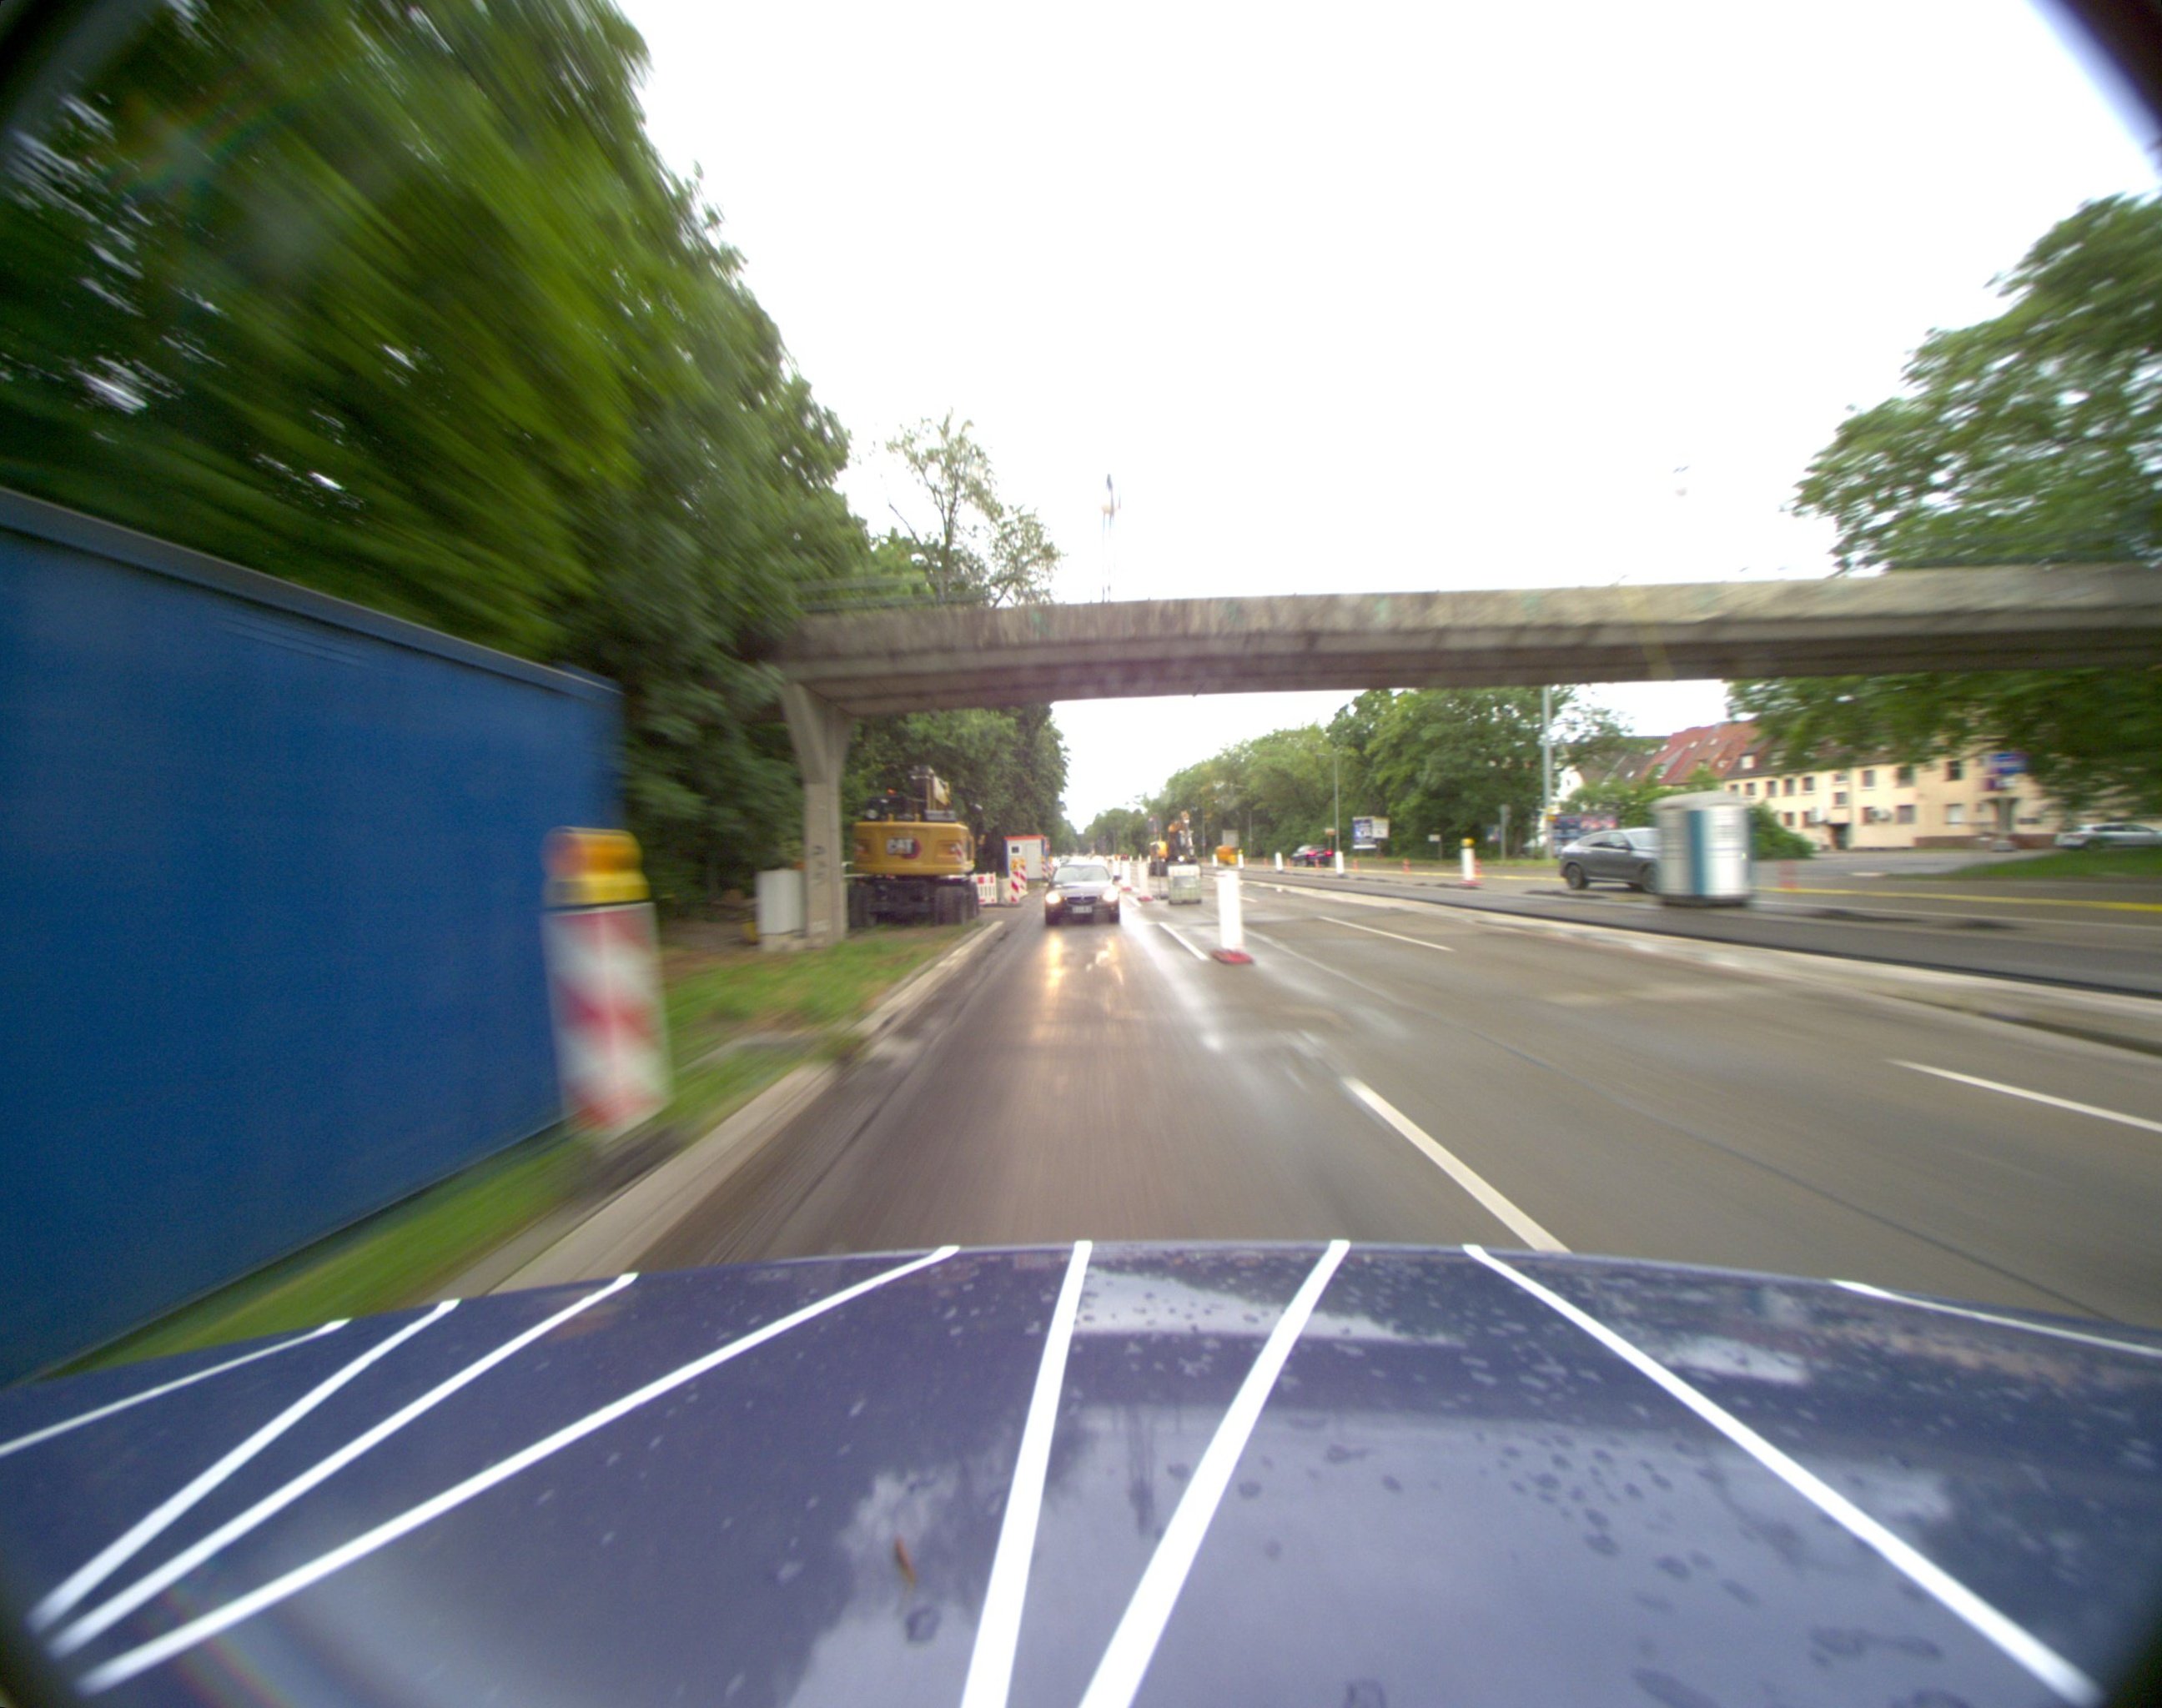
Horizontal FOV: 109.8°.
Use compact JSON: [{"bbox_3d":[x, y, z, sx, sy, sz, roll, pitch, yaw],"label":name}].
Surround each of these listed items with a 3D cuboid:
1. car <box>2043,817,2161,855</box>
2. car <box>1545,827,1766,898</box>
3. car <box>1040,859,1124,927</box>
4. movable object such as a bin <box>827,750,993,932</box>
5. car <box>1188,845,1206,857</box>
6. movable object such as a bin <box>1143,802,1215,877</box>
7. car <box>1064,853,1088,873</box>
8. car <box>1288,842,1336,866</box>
[{"bbox_3d":[52.541,-0.905,38.610,4.212,1.740,2.004,-2,1,42],"label":"car"},{"bbox_3d":[15.039,0.172,20.373,2.082,1.604,5.055,-2,1,0],"label":"car"},{"bbox_3d":[-0.015,0.904,19.271,1.838,1.397,3.999,-2,1,-1],"label":"car"},{"bbox_3d":[-4.128,-0.314,19.905,2.890,3.917,6.104,-2,1,-1],"label":"movable object such as a bin"},{"bbox_3d":[16.114,-0.425,105.634,1.808,1.525,3.991,-2,1,0],"label":"car"},{"bbox_3d":[6.467,-0.931,51.850,3.526,4.495,10.068,-2,1,0],"label":"movable object such as a bin"},{"bbox_3d":[-0.430,0.793,68.340,1.998,1.650,4.229,-2,1,0],"label":"car"},{"bbox_3d":[18.395,-0.012,60.850,2.221,1.729,5.055,-2,1,0],"label":"car"}]
